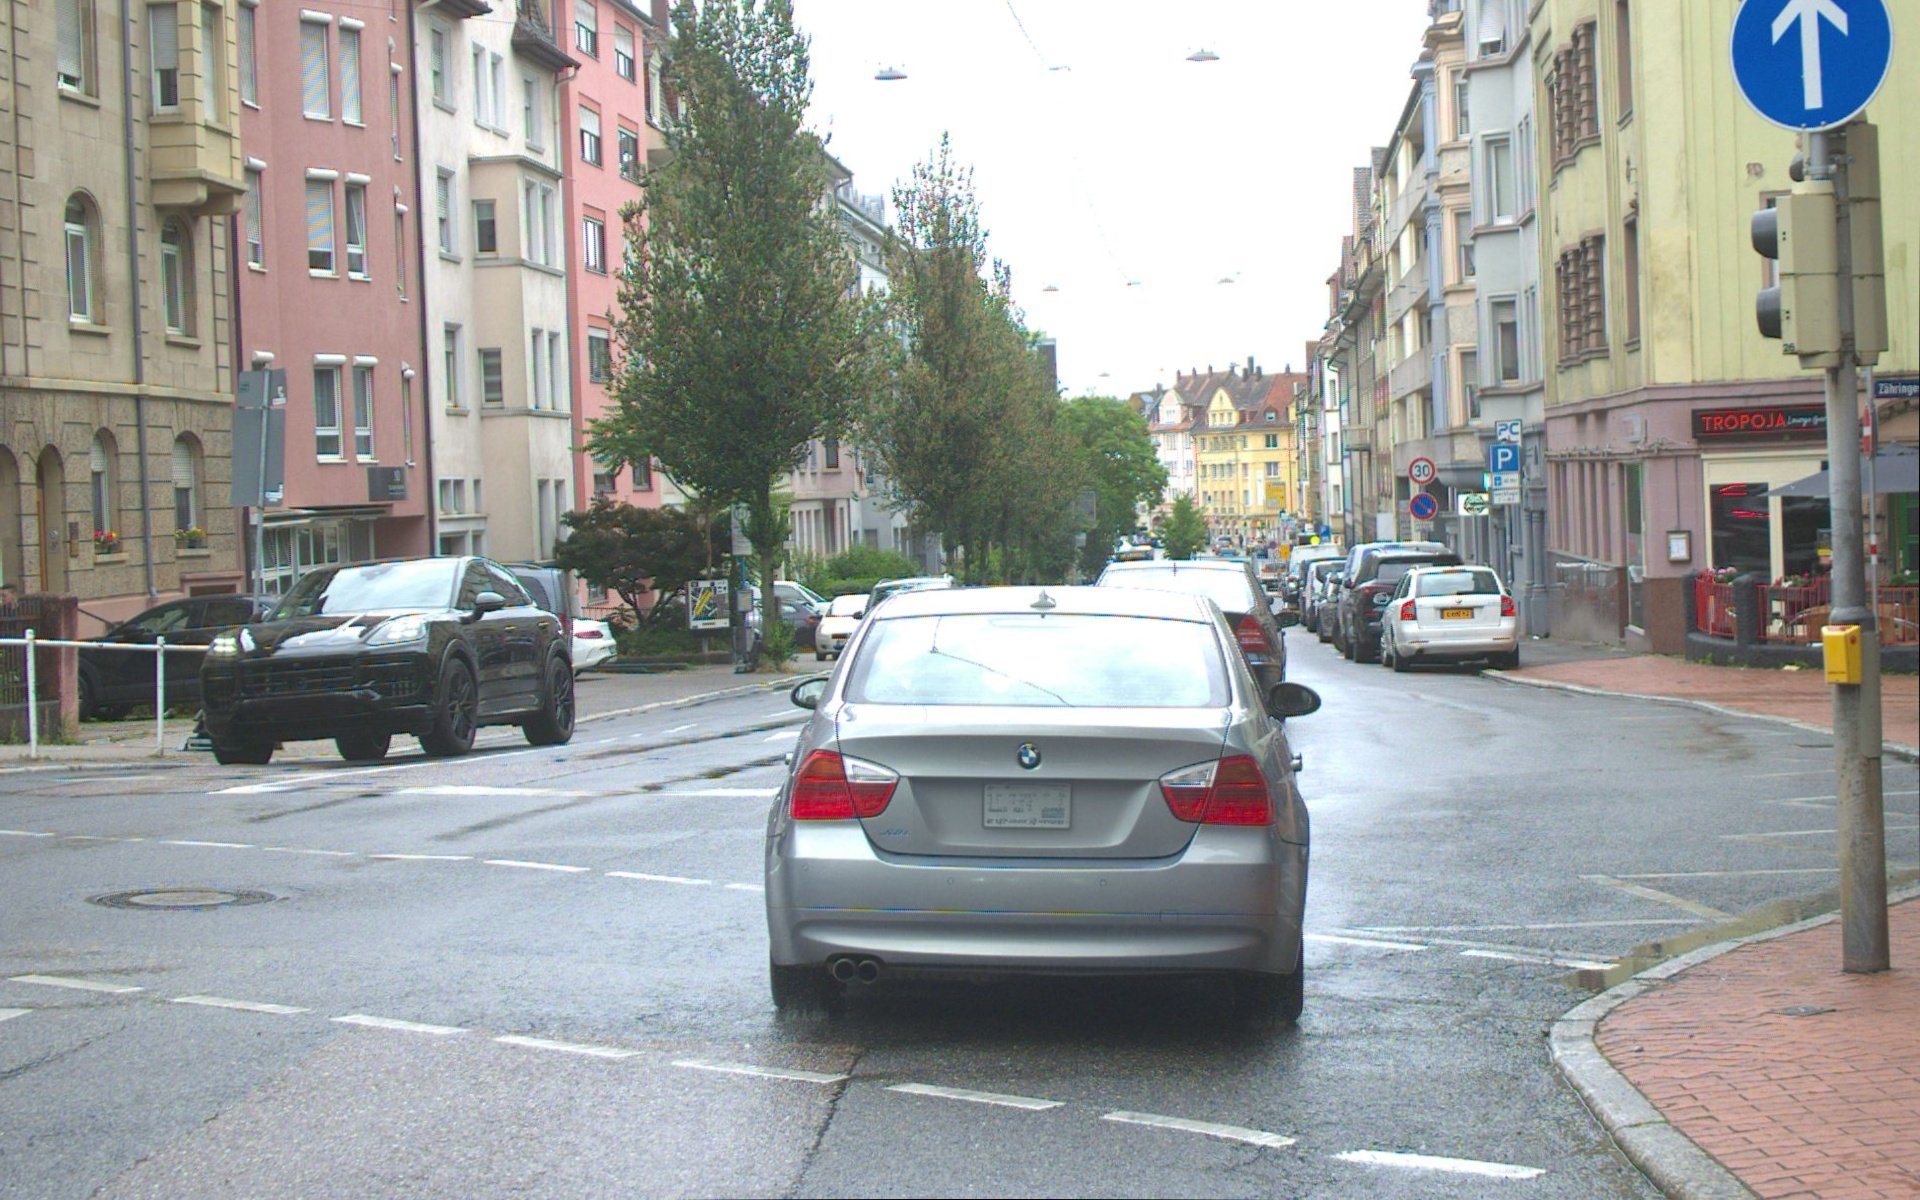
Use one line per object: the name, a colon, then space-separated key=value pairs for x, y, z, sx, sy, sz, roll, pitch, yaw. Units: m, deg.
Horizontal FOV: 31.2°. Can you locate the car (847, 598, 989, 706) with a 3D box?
car: x=-0.677 y=0.858 z=58.998 sx=1.621 sy=1.643 sz=4.418 roll=-4 pitch=0 yaw=9

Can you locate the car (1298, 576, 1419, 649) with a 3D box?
car: x=8.334 y=0.265 z=72.319 sx=1.875 sy=1.462 sz=4.775 roll=0 pitch=0 yaw=-1

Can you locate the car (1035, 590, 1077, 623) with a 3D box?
car: x=4.680 y=0.303 z=168.030 sx=1.691 sy=1.518 sz=3.735 roll=-4 pitch=0 yaw=6

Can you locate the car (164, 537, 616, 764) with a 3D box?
car: x=-4.549 y=0.417 z=28.282 sx=1.966 sy=1.687 sz=4.804 roll=-1 pitch=-1 yaw=13

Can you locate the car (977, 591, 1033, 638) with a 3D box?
car: x=1.652 y=0.521 z=126.154 sx=1.767 sy=1.588 sz=3.999 roll=-4 pitch=0 yaw=4

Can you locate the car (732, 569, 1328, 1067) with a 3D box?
car: x=0.272 y=0.629 z=12.083 sx=1.769 sy=1.423 sz=3.741 roll=0 pitch=1 yaw=2

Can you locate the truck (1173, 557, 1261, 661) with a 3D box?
truck: x=6.121 y=0.217 z=81.996 sx=2.032 sy=2.404 sz=4.826 roll=0 pitch=0 yaw=4

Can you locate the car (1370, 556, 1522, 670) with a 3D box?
car: x=6.880 y=0.173 z=49.036 sx=1.799 sy=1.559 sz=4.492 roll=0 pitch=0 yaw=4

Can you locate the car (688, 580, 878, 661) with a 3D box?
car: x=-4.757 y=0.544 z=92.995 sx=4.830 sy=1.967 sz=2.047 roll=-2 pitch=0 yaw=5

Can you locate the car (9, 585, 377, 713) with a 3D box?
car: x=-9.648 y=0.607 z=43.429 sx=4.148 sy=1.505 sz=1.873 roll=-1 pitch=0 yaw=5

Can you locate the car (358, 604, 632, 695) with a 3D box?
car: x=-8.349 y=0.884 z=61.927 sx=4.548 sy=1.396 sz=1.767 roll=-3 pitch=0 yaw=5

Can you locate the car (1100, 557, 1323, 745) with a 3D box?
car: x=2.099 y=0.395 z=27.949 sx=1.682 sy=1.423 sz=3.740 roll=0 pitch=0 yaw=6

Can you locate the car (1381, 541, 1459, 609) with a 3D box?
car: x=12.242 y=-0.661 z=91.666 sx=1.726 sy=1.664 sz=4.287 roll=-4 pitch=0 yaw=5

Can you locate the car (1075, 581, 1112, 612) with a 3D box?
car: x=6.933 y=-0.179 z=178.238 sx=1.636 sy=1.503 sz=3.754 roll=-4 pitch=0 yaw=5

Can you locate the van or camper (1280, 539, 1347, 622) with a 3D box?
van or camper: x=12.745 y=-0.691 z=123.595 sx=2.034 sy=2.859 sz=6.882 roll=1 pitch=0 yaw=8

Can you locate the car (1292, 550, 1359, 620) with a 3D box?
car: x=12.023 y=-0.498 z=113.287 sx=1.982 sy=2.158 sz=4.749 roll=-3 pitch=0 yaw=5

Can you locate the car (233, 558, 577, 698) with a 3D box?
car: x=-7.815 y=0.380 z=48.744 sx=4.674 sy=1.932 sz=1.863 roll=0 pitch=1 yaw=-5

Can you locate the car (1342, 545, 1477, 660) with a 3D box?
car: x=7.058 y=0.036 z=54.342 sx=1.879 sy=1.725 sz=4.676 roll=0 pitch=0 yaw=5

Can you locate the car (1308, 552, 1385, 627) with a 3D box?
car: x=11.072 y=-0.290 z=98.683 sx=1.982 sy=2.000 sz=4.624 roll=-3 pitch=0 yaw=5

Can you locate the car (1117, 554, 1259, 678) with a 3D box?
car: x=2.863 y=0.205 z=43.082 sx=1.697 sy=1.478 sz=3.793 roll=0 pitch=0 yaw=4

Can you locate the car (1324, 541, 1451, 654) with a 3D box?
car: x=7.465 y=-0.045 z=60.443 sx=1.920 sy=1.821 sz=5.008 roll=-3 pitch=0 yaw=5
